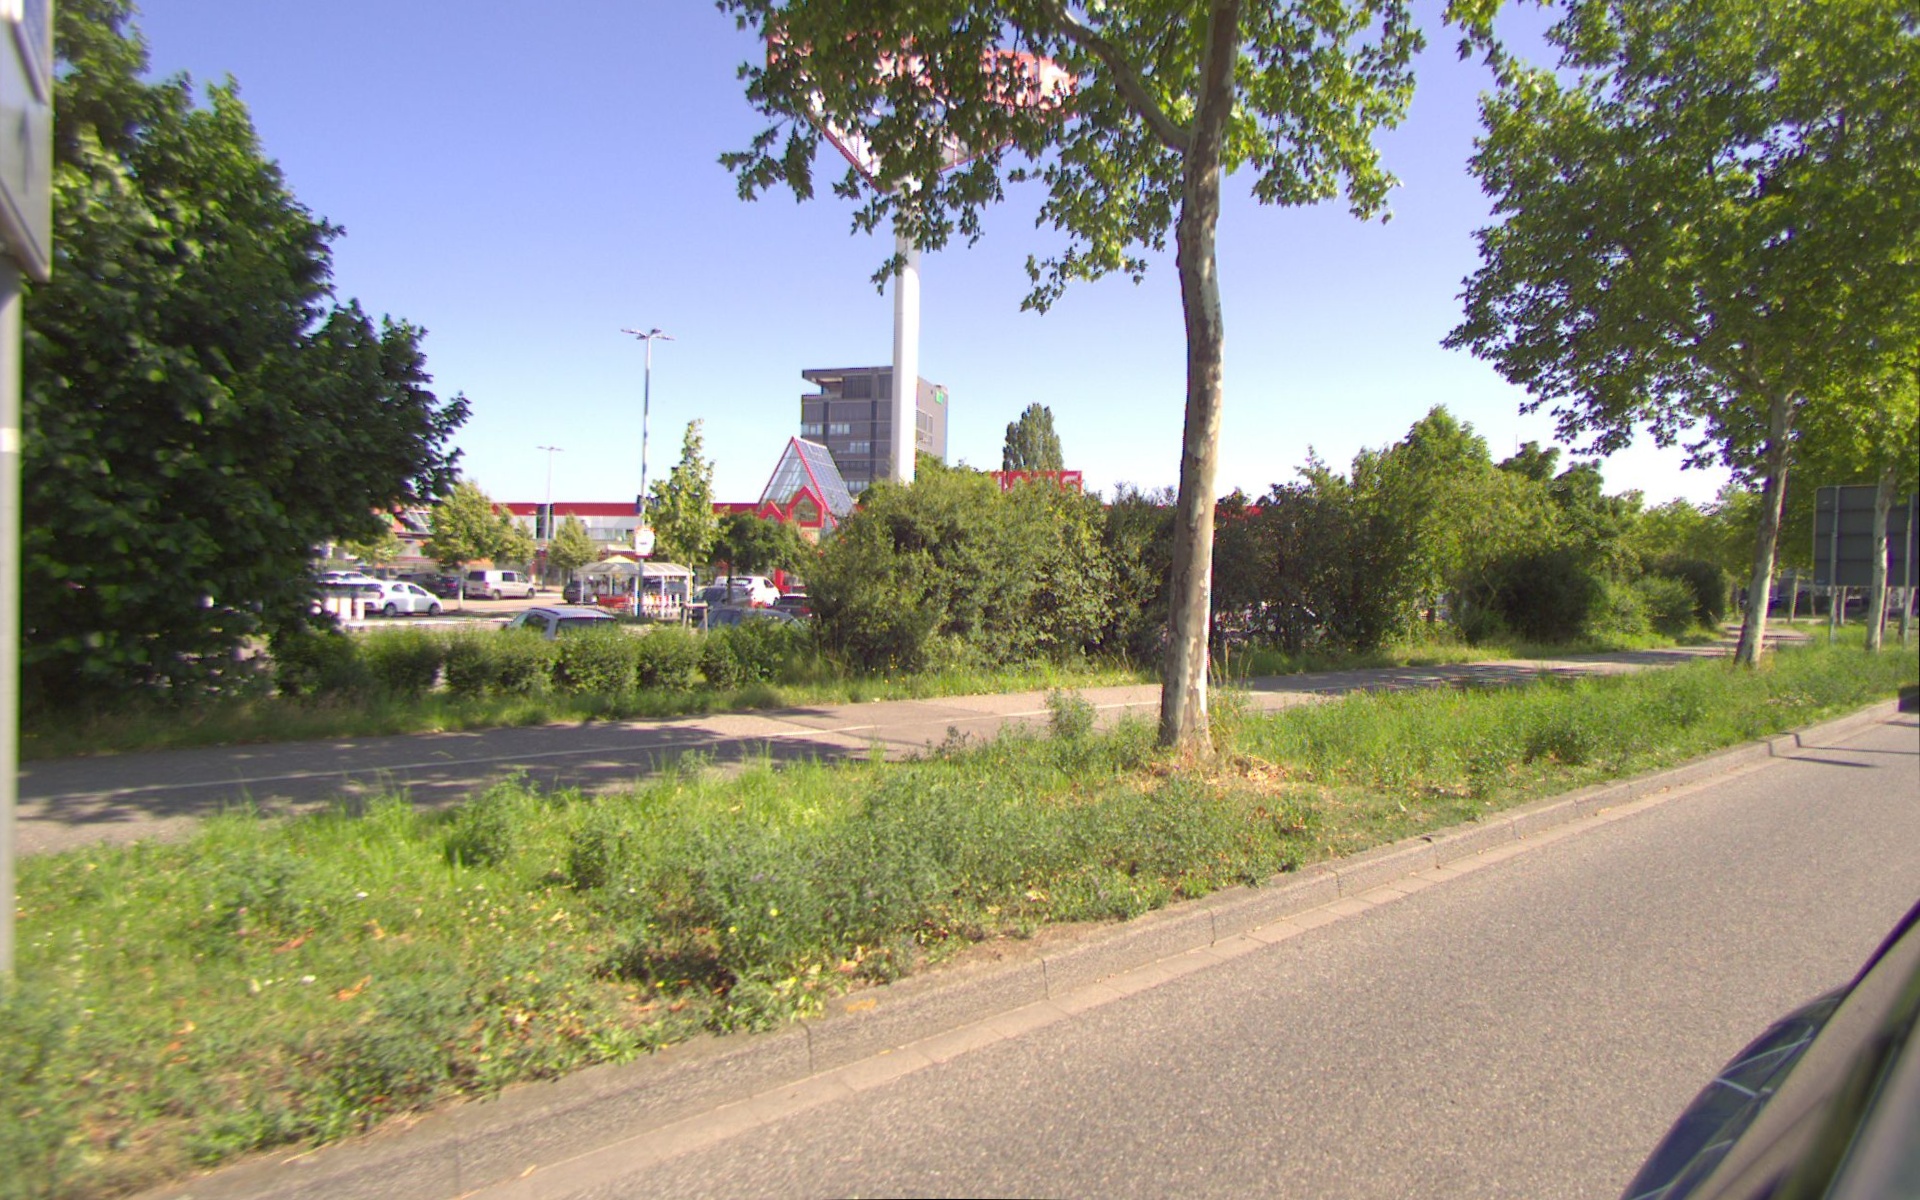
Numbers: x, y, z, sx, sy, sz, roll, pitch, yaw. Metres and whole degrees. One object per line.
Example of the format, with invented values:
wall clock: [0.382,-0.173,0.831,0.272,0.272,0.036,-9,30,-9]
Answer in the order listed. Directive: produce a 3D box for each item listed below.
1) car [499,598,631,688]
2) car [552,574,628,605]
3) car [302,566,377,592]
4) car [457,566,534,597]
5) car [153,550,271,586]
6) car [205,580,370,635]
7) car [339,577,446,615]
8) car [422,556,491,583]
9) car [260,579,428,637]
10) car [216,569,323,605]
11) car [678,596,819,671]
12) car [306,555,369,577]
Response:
car: [-7.869,0.770,19.974,1.491,1.584,3.670,0,0,-37]
car: [-21.967,-0.593,60.266,1.816,1.747,4.409,0,-1,20]
car: [-41.027,-1.351,66.986,1.971,1.672,3.982,0,0,15]
car: [-29.059,-1.130,63.492,1.816,1.747,4.409,0,-1,20]
car: [-41.342,-1.733,56.098,1.816,1.747,5.156,0,-1,20]
car: [-20.526,0.186,31.065,1.718,1.571,3.969,0,0,23]
car: [-24.433,-0.178,43.753,1.714,1.571,3.978,0,0,17]
car: [-36.304,-2.192,73.071,1.816,1.747,4.409,0,-1,20]
car: [-17.865,0.186,29.558,1.718,1.571,3.969,0,0,23]
car: [-35.967,-0.657,52.860,1.816,1.747,4.409,0,-1,20]
car: [-5.087,0.722,24.100,1.710,1.605,3.772,0,0,-40]
car: [-50.784,-2.762,82.608,1.978,1.672,3.969,0,0,23]
